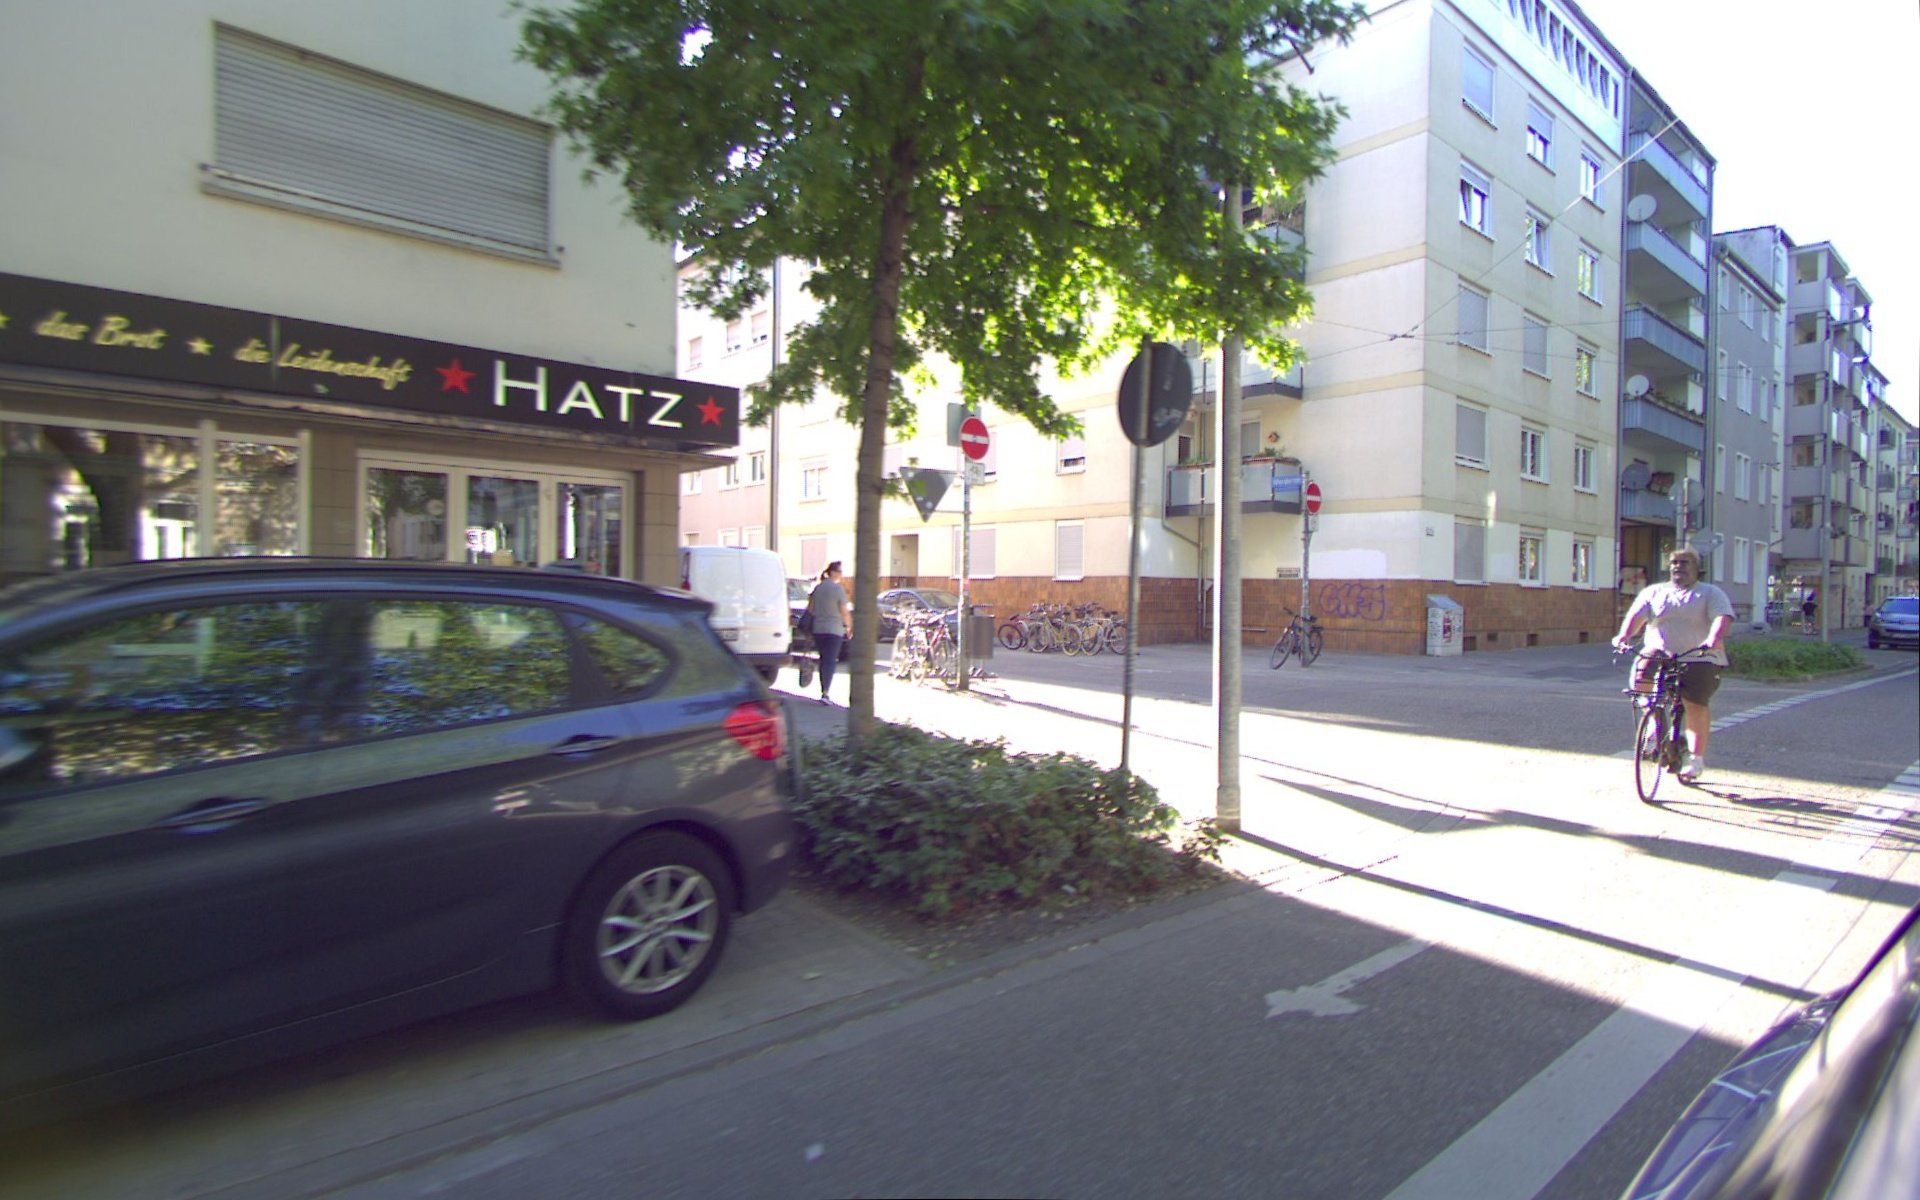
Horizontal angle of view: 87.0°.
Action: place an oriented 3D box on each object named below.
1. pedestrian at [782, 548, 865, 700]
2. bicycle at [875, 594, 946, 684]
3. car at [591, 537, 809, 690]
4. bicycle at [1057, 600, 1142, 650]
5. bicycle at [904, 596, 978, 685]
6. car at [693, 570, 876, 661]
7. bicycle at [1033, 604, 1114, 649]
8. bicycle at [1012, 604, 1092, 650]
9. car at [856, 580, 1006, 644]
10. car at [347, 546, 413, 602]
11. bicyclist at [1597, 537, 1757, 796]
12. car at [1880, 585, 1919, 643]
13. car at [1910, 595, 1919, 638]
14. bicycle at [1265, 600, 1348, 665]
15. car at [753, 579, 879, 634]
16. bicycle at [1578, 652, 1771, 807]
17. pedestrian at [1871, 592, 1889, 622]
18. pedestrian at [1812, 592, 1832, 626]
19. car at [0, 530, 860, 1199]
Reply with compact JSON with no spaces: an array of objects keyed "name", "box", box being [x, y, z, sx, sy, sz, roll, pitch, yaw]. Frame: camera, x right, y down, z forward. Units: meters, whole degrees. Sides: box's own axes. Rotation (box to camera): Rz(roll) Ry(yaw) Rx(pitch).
[{"name":"pedestrian","box":[-1.600,0.264,11.956,0.694,1.706,0.769,3,1,13]},{"name":"bicycle","box":[-0.765,0.528,14.867,0.471,1.222,2.078,0,0,-19]},{"name":"car","box":[-3.769,0.139,14.156,1.751,1.820,4.001,0,0,-34]},{"name":"bicycle","box":[3.155,0.546,23.015,0.596,1.004,2.111,0,2,-37]},{"name":"bicycle","box":[-0.314,0.553,15.027,0.471,1.222,2.078,0,0,-19]},{"name":"car","box":[-3.542,0.237,19.926,1.696,1.601,3.992,0,1,-42]},{"name":"bicycle","box":[2.518,0.568,22.726,0.490,0.942,2.111,0,0,-37]},{"name":"bicycle","box":[2.005,0.577,22.421,0.490,0.942,2.111,0,0,-37]},{"name":"car","box":[-0.811,0.251,26.104,1.696,1.527,3.992,0,1,-42]},{"name":"car","box":[-27.418,-1.221,47.795,1.927,2.546,3.992,0,1,-42]},{"name":"bicyclist","box":[5.582,0.471,7.875,1.080,1.854,0.768,0,0,-40]},{"name":"car","box":[33.664,0.446,35.241,3.930,1.949,1.957,0,0,-40]},{"name":"car","box":[40.489,0.667,41.386,3.930,1.705,1.997,0,0,-40]},{"name":"bicycle","box":[6.711,0.603,19.559,1.961,1.166,0.615,0,1,-41]},{"name":"car","box":[-4.329,0.137,30.047,1.696,1.527,4.109,0,1,-42]},{"name":"bicycle","box":[5.598,0.939,7.889,1.905,0.949,0.790,0,0,-41]},{"name":"pedestrian","box":[52.727,0.415,58.024,0.666,1.716,0.696,0,0,-41]},{"name":"pedestrian","box":[38.955,0.411,45.735,0.589,1.521,0.590,0,0,-41]},{"name":"car","box":[-2.513,0.602,3.232,4.190,1.590,1.721,0,4,-45]}]
